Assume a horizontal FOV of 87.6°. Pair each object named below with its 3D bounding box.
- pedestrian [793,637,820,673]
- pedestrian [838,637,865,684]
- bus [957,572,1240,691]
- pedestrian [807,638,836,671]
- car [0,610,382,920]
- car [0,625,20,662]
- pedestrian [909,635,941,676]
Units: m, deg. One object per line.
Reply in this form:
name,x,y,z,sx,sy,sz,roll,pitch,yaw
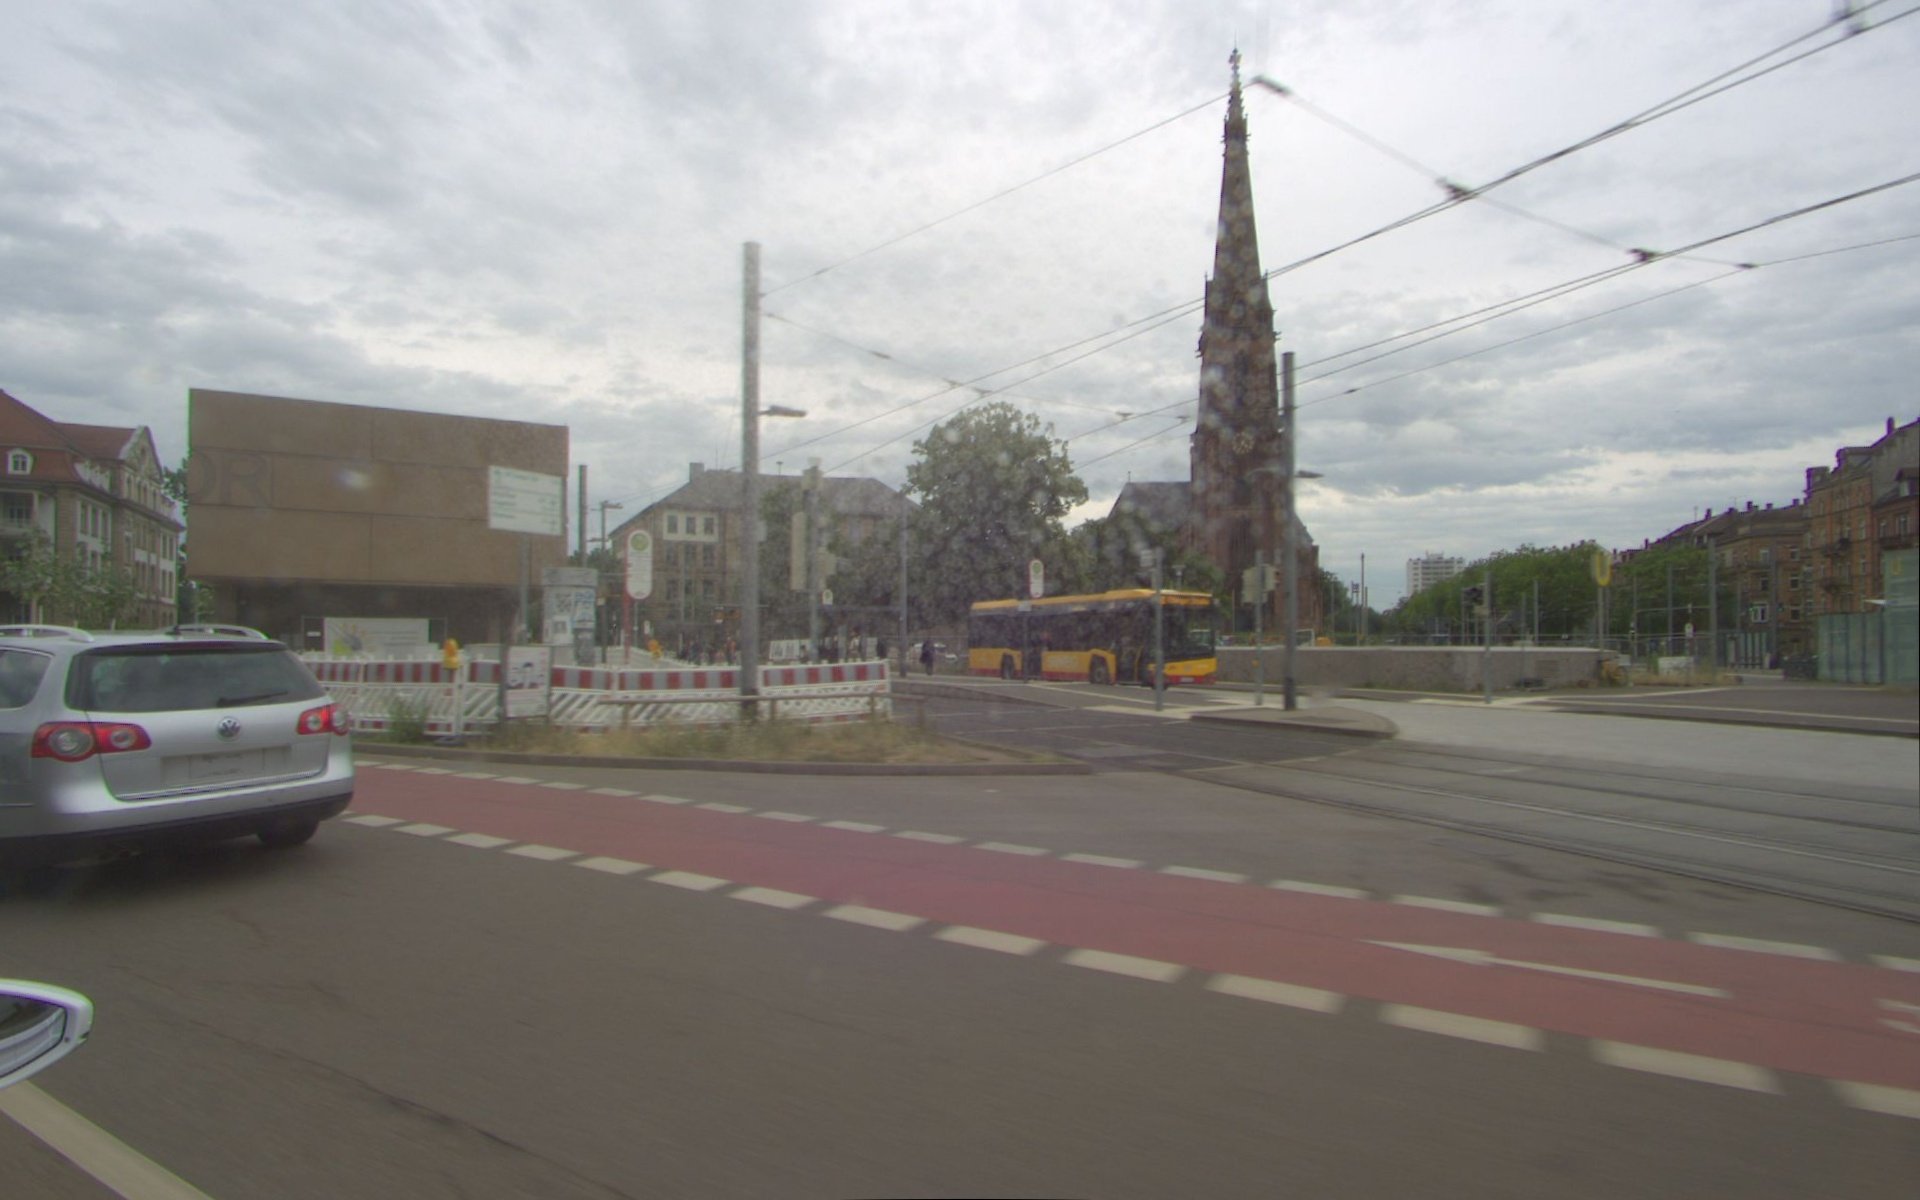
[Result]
pedestrian,-6.952,2.503,45.302,1.005,1.595,1.005,1,-2,-23
pedestrian,-4.393,2.437,40.443,0.813,1.831,1.018,1,-2,-22
bus,3.996,1.218,34.261,2.979,3.308,12.999,1,-3,-25
pedestrian,-6.017,2.357,43.460,1.004,1.420,1.005,1,-2,-22
car,-6.068,0.876,6.759,4.560,1.501,1.719,-1,-2,30
car,-52.590,2.277,52.276,1.962,1.887,5.007,-3,-3,7
pedestrian,-1.476,2.344,42.126,0.991,1.665,1.018,3,-3,-22
